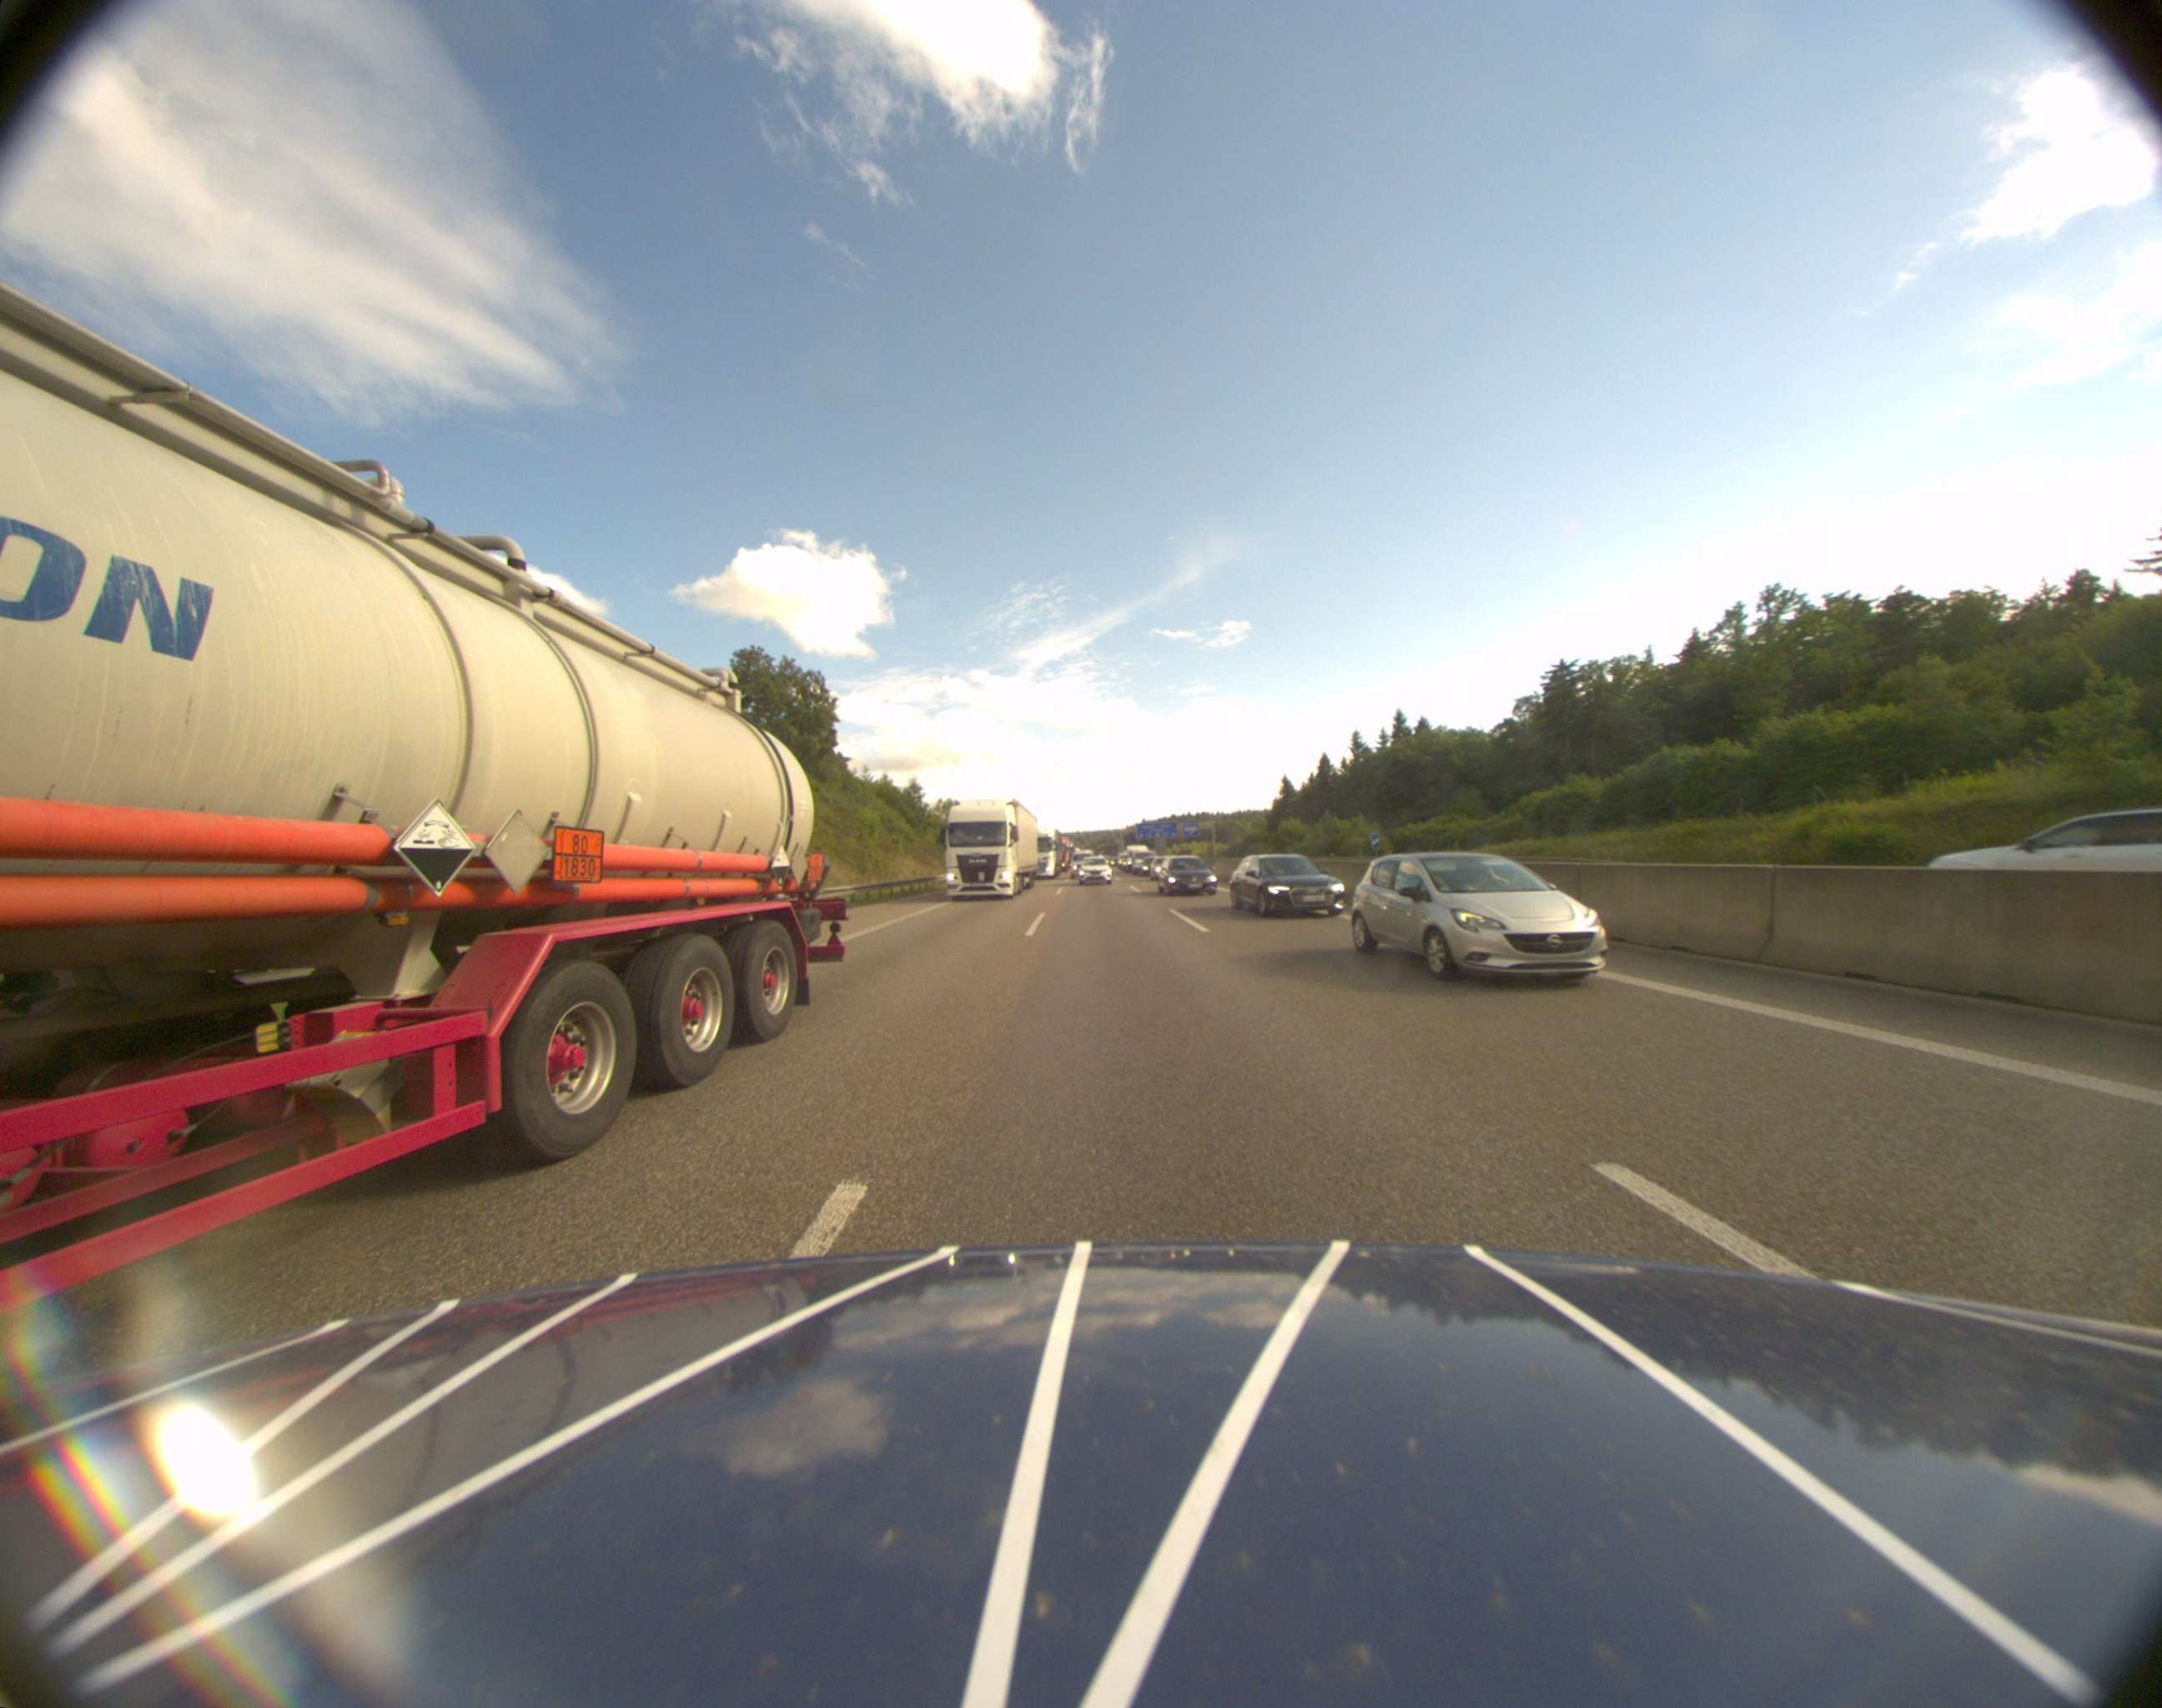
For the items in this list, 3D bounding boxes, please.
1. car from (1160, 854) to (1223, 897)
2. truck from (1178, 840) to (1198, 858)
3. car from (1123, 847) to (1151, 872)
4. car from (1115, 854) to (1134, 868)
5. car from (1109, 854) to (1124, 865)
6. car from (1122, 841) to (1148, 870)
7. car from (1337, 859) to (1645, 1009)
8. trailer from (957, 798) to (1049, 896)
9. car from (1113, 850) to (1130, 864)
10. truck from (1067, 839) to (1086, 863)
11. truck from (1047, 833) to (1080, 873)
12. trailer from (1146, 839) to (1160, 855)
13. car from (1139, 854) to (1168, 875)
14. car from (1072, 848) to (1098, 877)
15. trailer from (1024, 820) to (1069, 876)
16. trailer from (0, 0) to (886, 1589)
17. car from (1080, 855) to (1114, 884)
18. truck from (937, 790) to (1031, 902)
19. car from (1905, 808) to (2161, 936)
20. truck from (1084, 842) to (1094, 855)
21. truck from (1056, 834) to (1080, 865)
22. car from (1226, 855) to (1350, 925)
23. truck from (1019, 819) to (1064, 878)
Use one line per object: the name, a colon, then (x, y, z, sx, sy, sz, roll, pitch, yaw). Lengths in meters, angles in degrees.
car: (4.179, 0.765, 29.349, 1.915, 1.469, 4.569, -1, 0, 3)
truck: (17.841, -0.829, 126.884, 2.429, 2.838, 6.430, -2, 0, 0)
car: (4.591, 0.464, 63.248, 1.947, 1.953, 4.848, -2, 0, 1)
car: (4.585, 0.721, 79.857, 1.809, 1.423, 3.660, -2, 0, 1)
car: (5.442, 0.818, 116.176, 1.921, 1.535, 3.810, -2, 0, -1)
car: (5.048, 0.149, 71.773, 2.054, 2.557, 5.861, -1, 0, 1)
car: (4.811, 0.817, 9.676, 1.751, 1.457, 4.041, -1, 0, 0)
trailer: (-3.567, -0.324, 38.553, 2.833, 4.047, 13.372, -1, 0, 1)
car: (5.285, 0.363, 99.549, 1.920, 1.785, 3.811, -2, 0, 1)
truck: (-0.797, -0.585, 141.365, 2.840, 4.178, 12.045, -2, 1, 2)
truck: (-1.866, -0.185, 87.850, 2.840, 4.178, 12.045, -2, 1, 2)
trailer: (22.349, -2.289, 237.232, 2.934, 4.802, 14.651, -2, 1, 0)
car: (5.351, 0.737, 56.422, 1.809, 1.423, 3.994, -2, 0, 1)
car: (0.304, 0.603, 57.413, 1.809, 2.052, 4.770, -2, 0, 1)
trailer: (-2.761, -0.464, 65.012, 2.841, 4.177, 13.613, -2, 0, 1)
trailer: (-3.899, -0.282, 3.383, 2.805, 4.003, 11.182, -2, 0, 1)
car: (0.906, 0.840, 43.554, 1.809, 1.487, 4.666, -1, 0, 1)
truck: (-3.757, -0.293, 30.891, 2.841, 4.048, 5.707, -2, 0, 1)
car: (16.149, 0.224, 11.560, 1.857, 1.799, 4.924, -2, 0, 0)
truck: (2.854, -2.013, 254.230, 2.840, 4.178, 12.045, -2, 1, 2)
truck: (-1.840, -0.724, 113.049, 2.840, 4.178, 12.045, -2, 1, 2)
car: (5.028, 0.796, 19.211, 1.887, 1.463, 4.852, -2, 0, 1)
truck: (-2.889, -0.424, 57.668, 2.841, 4.177, 5.707, -2, 0, 1)
